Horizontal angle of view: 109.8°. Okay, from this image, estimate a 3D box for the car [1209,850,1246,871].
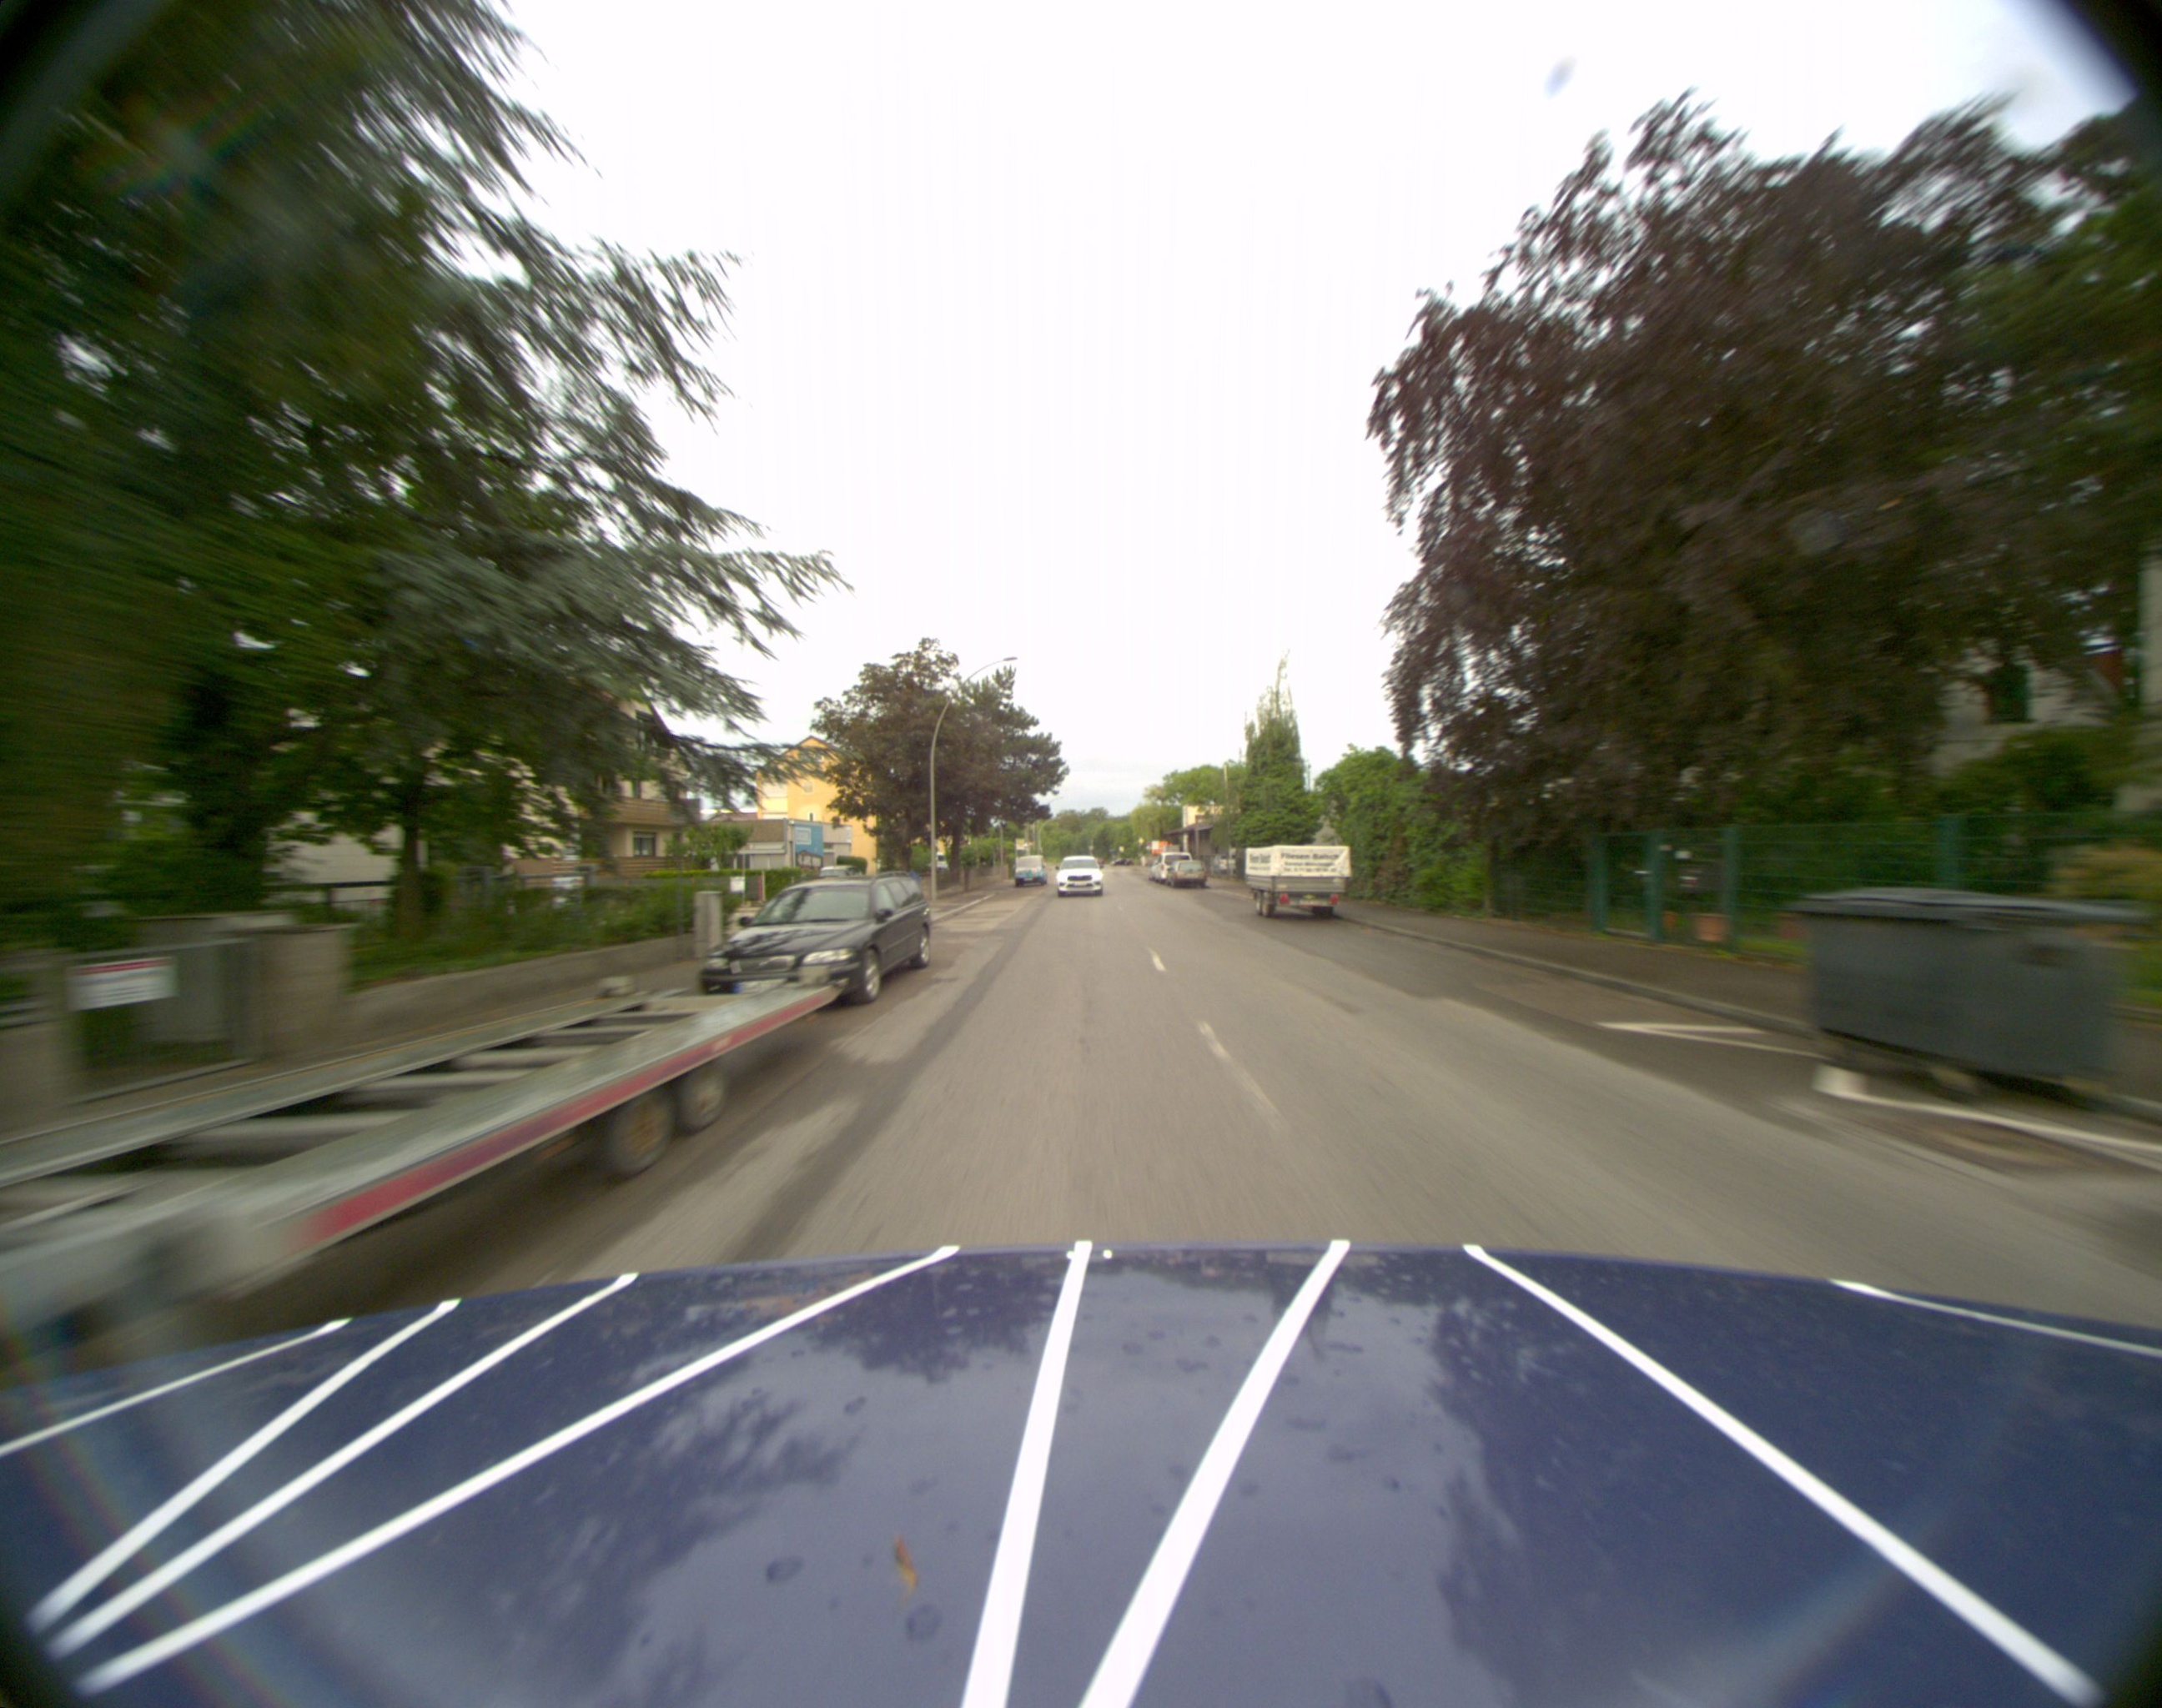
[{"bbox_3d":[11.070,0.480,57.765,1.833,1.432,4.788,-3,0,0],"label":"car"}]

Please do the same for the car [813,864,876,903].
[{"bbox_3d":[-10.428,1.258,33.823,1.749,1.479,4.116,-2,0,-4],"label":"car"}]

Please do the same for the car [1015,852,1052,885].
[{"bbox_3d":[-2.932,0.875,47.964,1.736,1.817,5.553,-4,0,2],"label":"car"}]

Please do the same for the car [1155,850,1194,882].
[{"bbox_3d":[5.656,0.688,46.487,1.898,1.881,5.210,0,0,1],"label":"car"}]

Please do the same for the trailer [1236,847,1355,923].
[{"bbox_3d":[5.587,0.744,20.413,1.934,1.755,4.548,-2,0,1],"label":"trailer"}]

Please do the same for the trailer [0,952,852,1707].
[{"bbox_3d":[-3.285,1.390,3.770,2.179,0.892,6.636,-3,0,1],"label":"trailer"}]

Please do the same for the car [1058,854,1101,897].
[{"bbox_3d":[-0.111,0.857,32.595,1.692,1.651,3.999,-3,0,-1],"label":"car"}]

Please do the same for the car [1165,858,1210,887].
[{"bbox_3d":[5.686,0.930,41.049,1.821,1.419,4.981,0,0,1],"label":"car"}]

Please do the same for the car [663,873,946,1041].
[{"bbox_3d":[-3.207,1.104,9.983,1.744,1.424,4.649,-4,0,3],"label":"car"}]

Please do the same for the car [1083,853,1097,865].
[{"bbox_3d":[1.303,0.763,109.954,1.898,1.678,4.231,0,0,1],"label":"car"}]

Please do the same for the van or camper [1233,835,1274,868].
[{"bbox_3d":[13.958,-0.246,61.674,1.999,2.476,5.197,-3,0,0],"label":"van or camper"}]

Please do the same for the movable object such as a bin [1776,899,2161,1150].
[{"bbox_3d":[5.852,1.019,5.065,1.103,1.303,1.425,-3,1,0],"label":"movable object such as a bin"}]

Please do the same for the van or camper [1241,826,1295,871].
[{"bbox_3d":[13.549,-0.371,55.563,2.309,3.018,6.150,-3,0,0],"label":"van or camper"}]

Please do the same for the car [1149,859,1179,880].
[{"bbox_3d":[5.708,1.026,52.593,1.642,1.357,4.707,0,0,1],"label":"car"}]

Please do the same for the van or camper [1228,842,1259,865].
[{"bbox_3d":[14.605,-0.042,68.528,1.926,1.924,4.374,-3,0,3],"label":"van or camper"}]
